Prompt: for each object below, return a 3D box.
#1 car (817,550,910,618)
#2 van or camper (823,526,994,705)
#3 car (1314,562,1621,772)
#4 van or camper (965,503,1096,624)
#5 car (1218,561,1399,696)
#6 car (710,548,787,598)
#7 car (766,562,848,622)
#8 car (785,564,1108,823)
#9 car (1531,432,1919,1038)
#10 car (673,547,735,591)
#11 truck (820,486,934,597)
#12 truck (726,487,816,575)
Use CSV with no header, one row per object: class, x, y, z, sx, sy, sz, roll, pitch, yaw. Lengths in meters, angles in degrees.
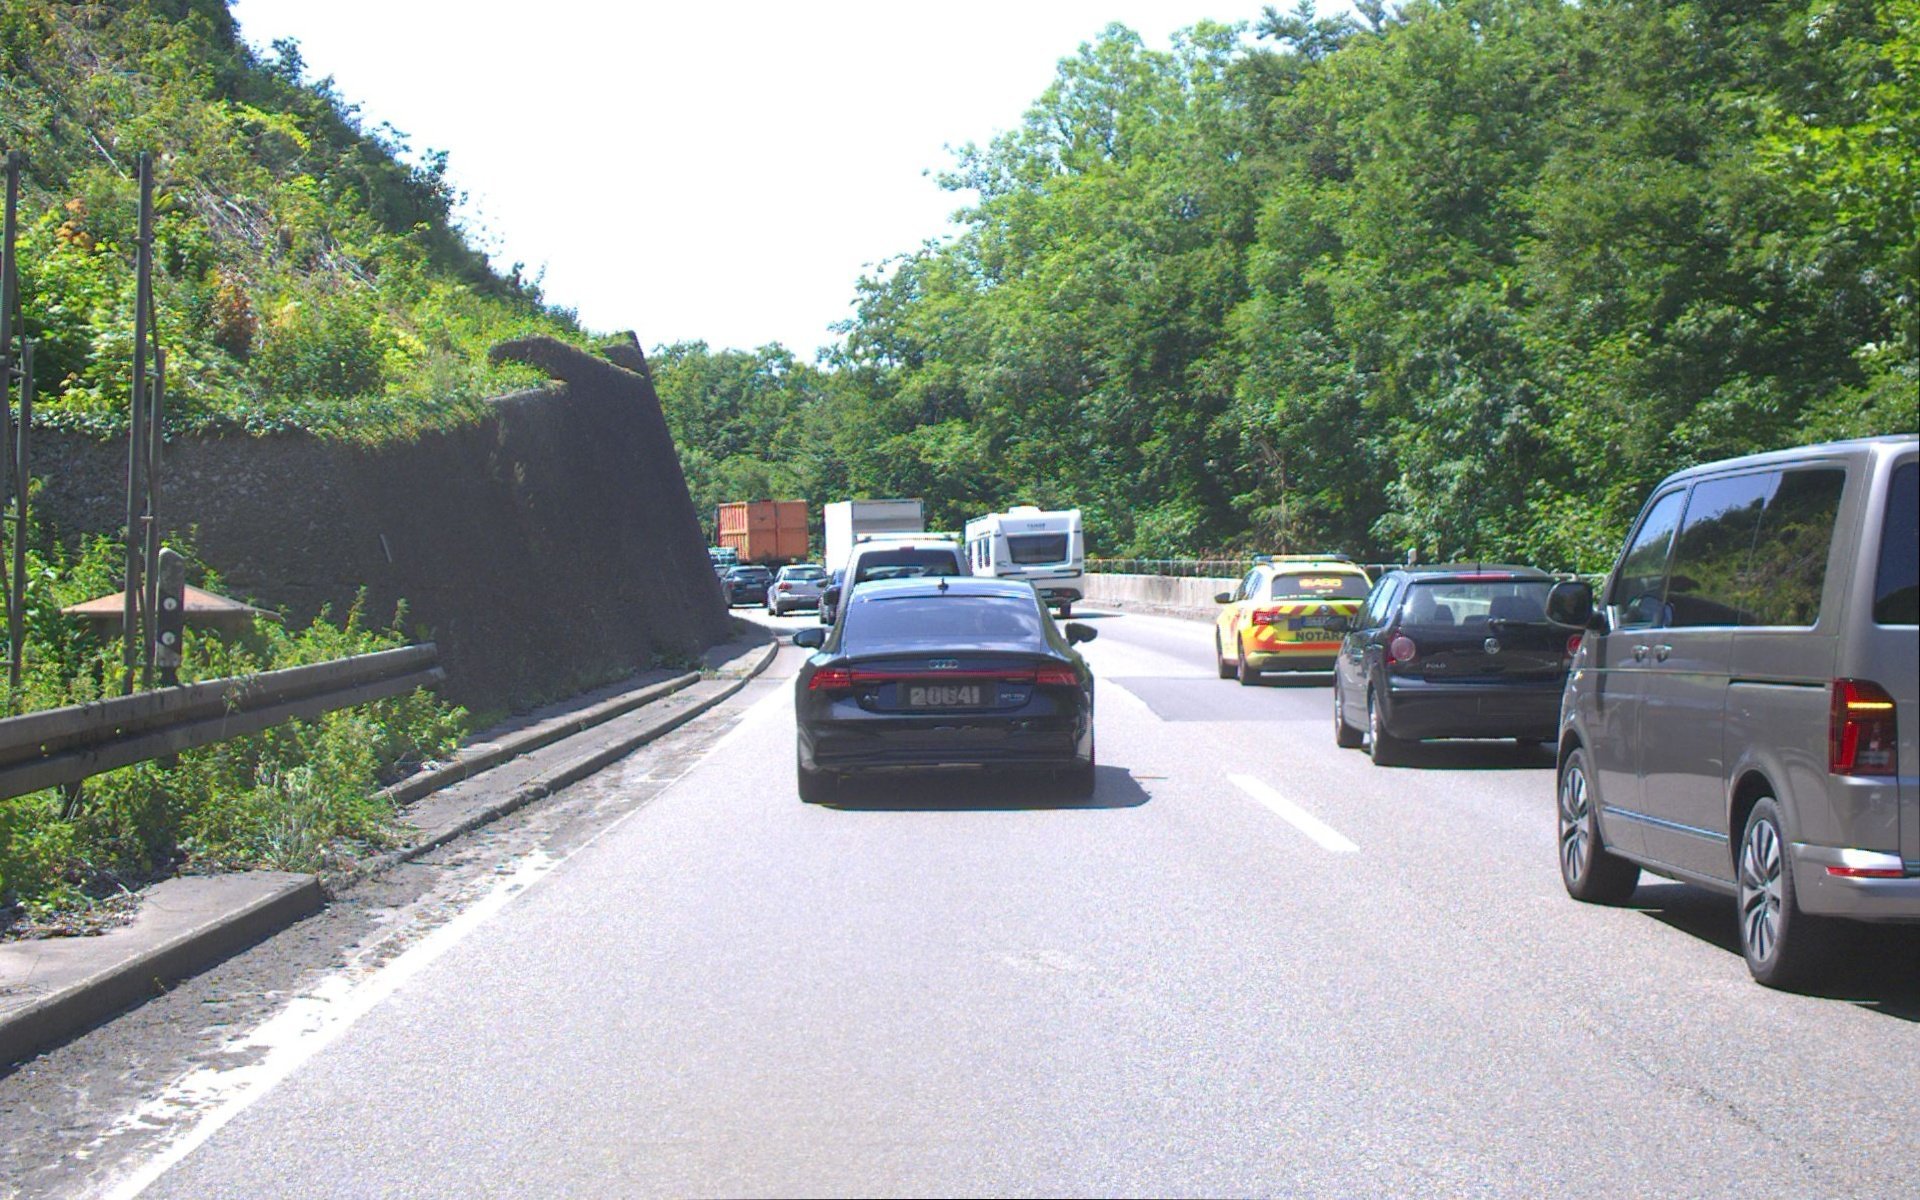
car,-2.469,-0.421,86.977,1.857,1.614,4.001,1,1,-8
van or camper,-0.580,0.148,40.734,1.853,1.935,4.165,2,1,0
car,3.762,0.447,26.091,1.685,1.453,4.000,0,1,-1
van or camper,1.695,-0.921,85.695,2.603,2.845,6.337,1,1,-4
car,4.165,0.309,41.635,1.808,1.472,4.081,2,1,1
car,-7.076,-0.908,114.749,1.750,1.565,3.772,1,1,-16
car,-4.526,-0.243,101.075,1.993,1.612,4.001,2,1,-8
car,-0.186,0.538,22.836,1.904,1.484,4.380,-2,1,-3
car,3.672,0.412,13.319,1.940,1.924,4.695,1,1,-2
car,-9.649,-1.180,129.331,1.750,1.565,3.772,1,1,-12
truck,-3.005,-2.082,121.871,2.924,3.674,7.726,3,1,-9
truck,-7.982,-2.899,144.525,3.163,3.456,8.223,3,1,-6
